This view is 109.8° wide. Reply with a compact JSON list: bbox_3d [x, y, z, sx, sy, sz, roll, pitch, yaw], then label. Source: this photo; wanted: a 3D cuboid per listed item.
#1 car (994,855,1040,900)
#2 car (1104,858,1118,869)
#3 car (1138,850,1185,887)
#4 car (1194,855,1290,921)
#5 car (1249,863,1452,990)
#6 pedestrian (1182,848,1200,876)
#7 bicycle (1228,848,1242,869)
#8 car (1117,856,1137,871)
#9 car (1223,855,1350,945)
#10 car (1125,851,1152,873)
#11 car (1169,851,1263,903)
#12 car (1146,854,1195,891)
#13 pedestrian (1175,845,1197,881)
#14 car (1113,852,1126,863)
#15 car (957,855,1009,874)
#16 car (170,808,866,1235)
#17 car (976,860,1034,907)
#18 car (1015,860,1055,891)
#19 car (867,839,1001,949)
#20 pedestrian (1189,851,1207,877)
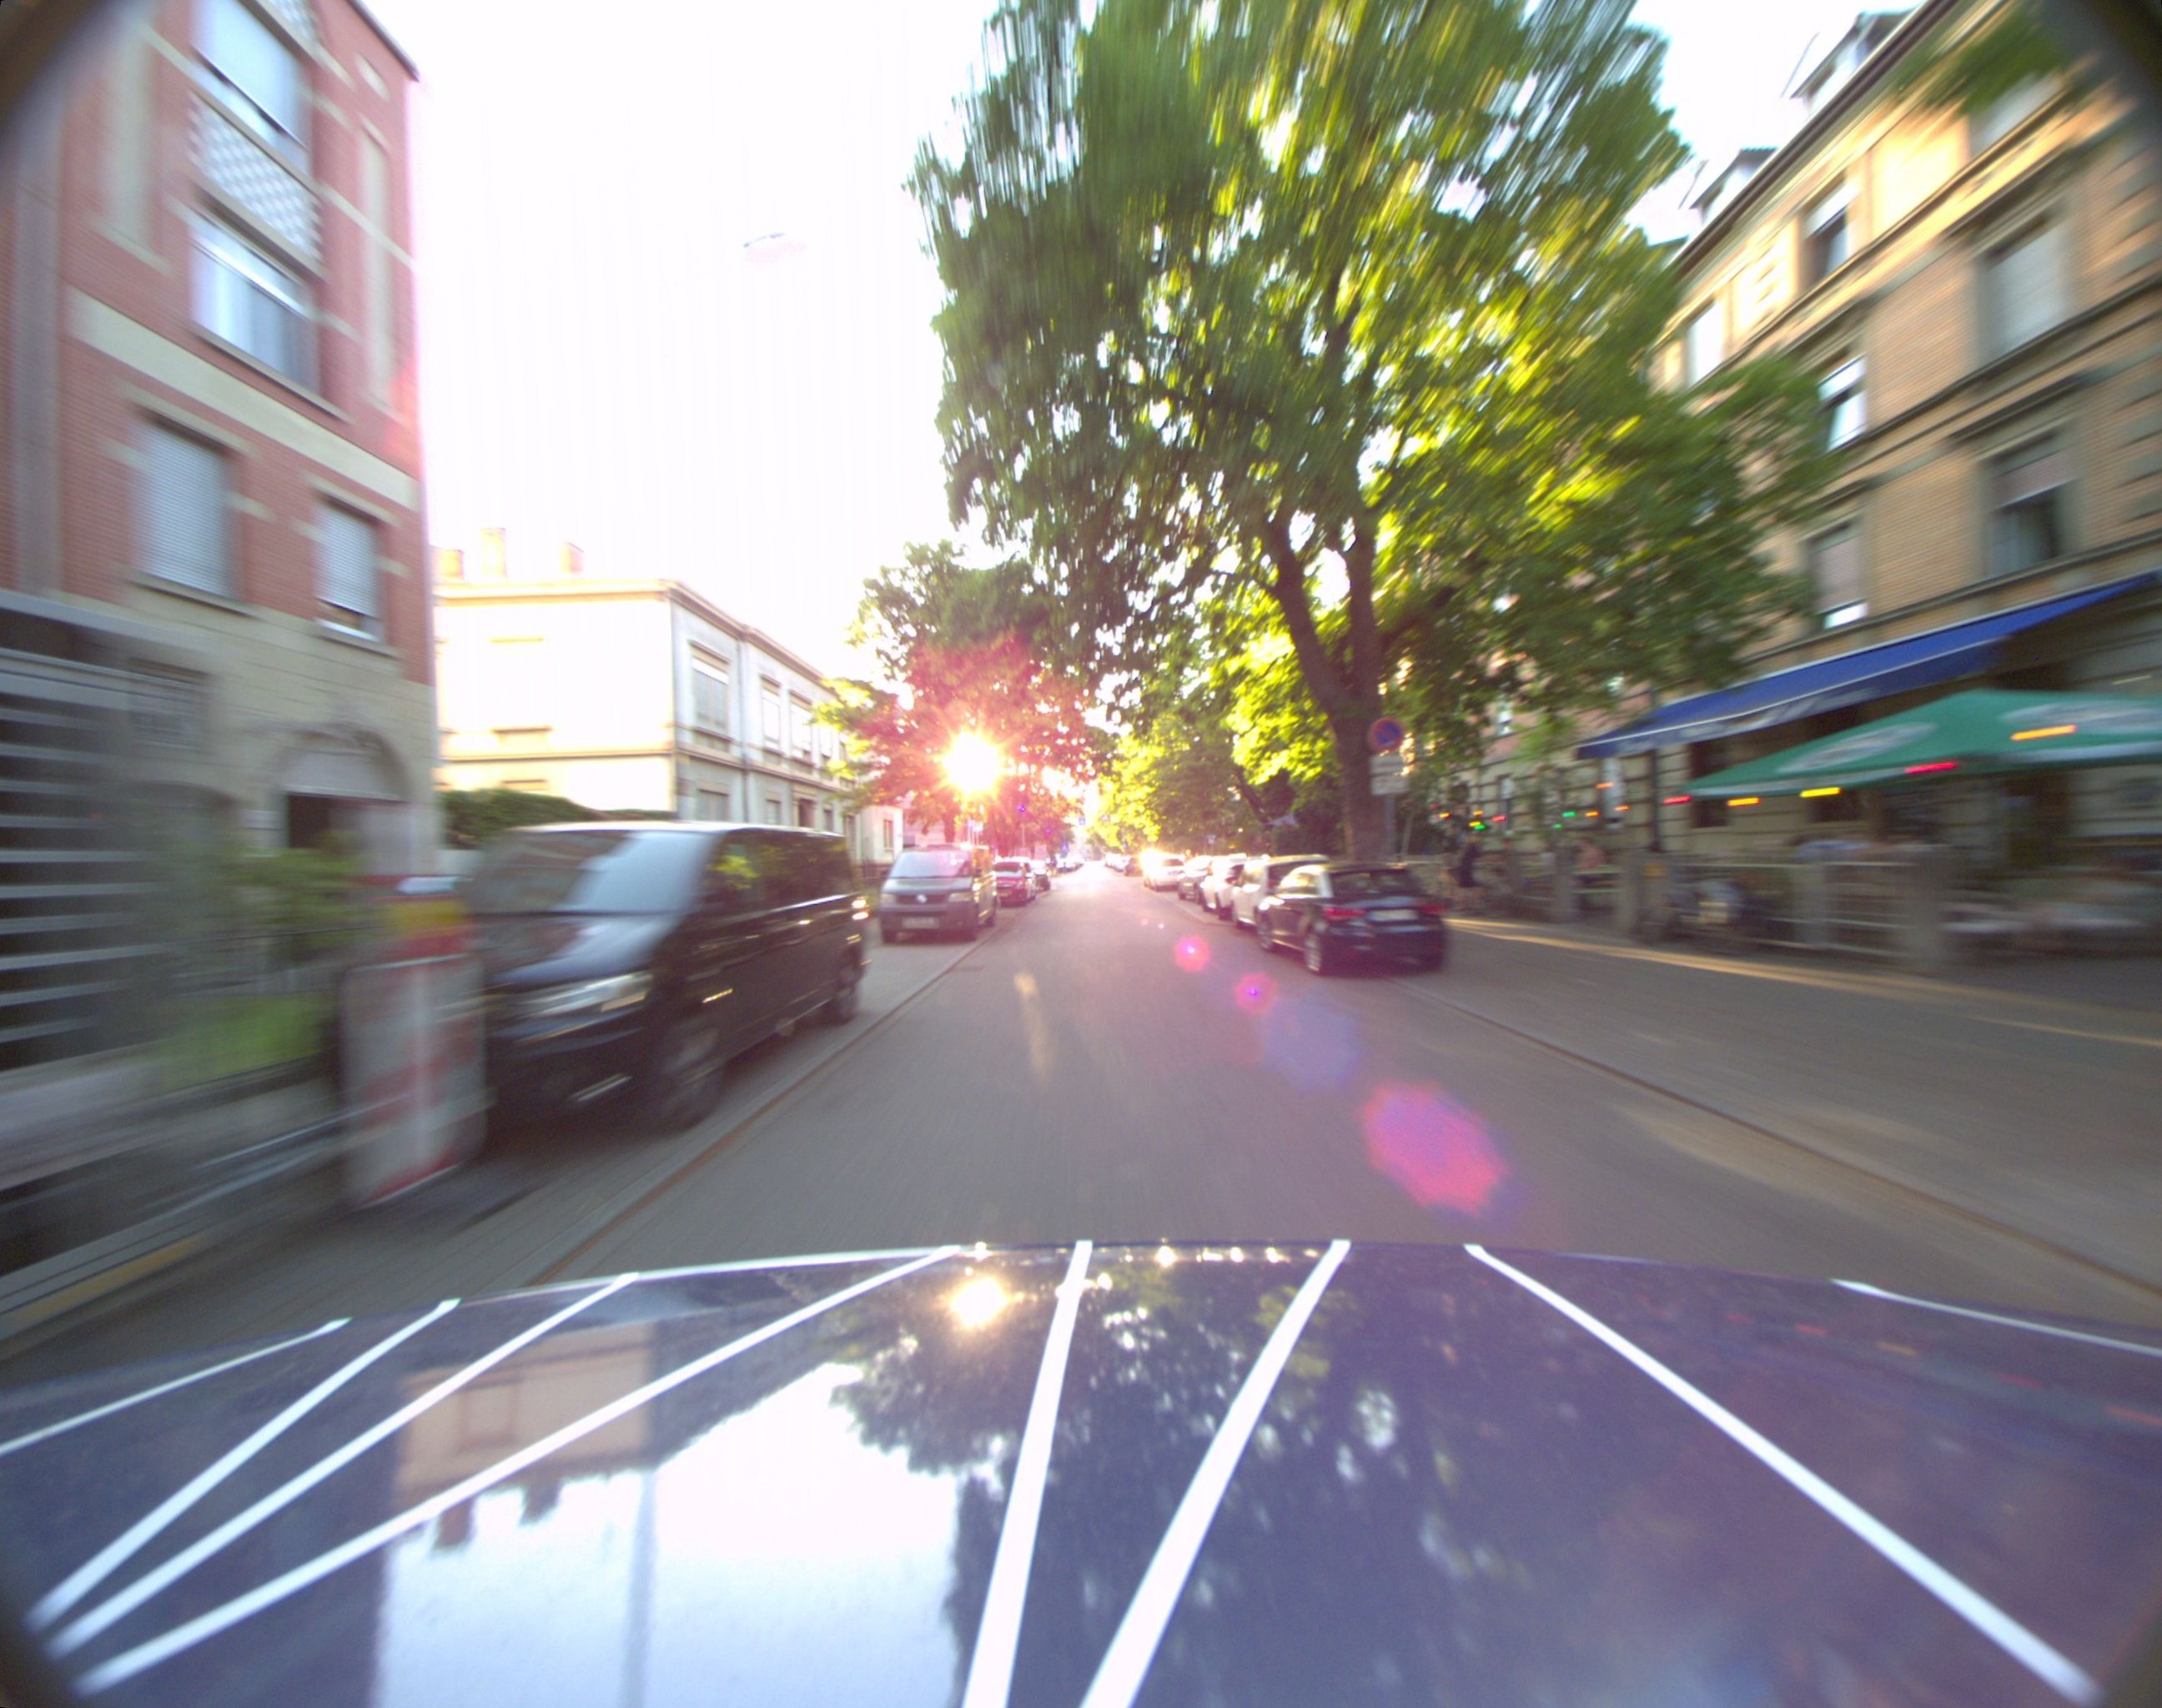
[{"bbox_3d":[-2.643,0.908,30.564,1.669,1.668,4.117,1,-1,-7],"label":"car"},{"bbox_3d":[4.383,1.389,111.186,1.617,1.433,4.104,-3,0,-1],"label":"car"},{"bbox_3d":[4.036,0.709,38.612,1.669,1.667,3.846,-4,0,-3],"label":"car"},{"bbox_3d":[4.027,0.809,19.630,1.607,1.427,3.885,-4,0,1],"label":"car"},{"bbox_3d":[3.627,0.886,10.912,1.555,1.477,3.694,-1,0,-1],"label":"car"},{"bbox_3d":[7.281,0.549,50.336,0.688,1.824,1.007,-1,1,-25],"label":"pedestrian"},{"bbox_3d":[8.977,0.258,44.214,0.392,1.137,1.747,-9,-1,4],"label":"bicycle"},{"bbox_3d":[4.957,1.004,82.352,1.617,1.433,3.754,-4,0,-2],"label":"car"},{"bbox_3d":[3.960,0.823,15.205,1.555,1.477,3.694,-4,0,2],"label":"car"},{"bbox_3d":[4.827,0.649,64.269,1.871,1.677,4.592,-3,0,0],"label":"car"},{"bbox_3d":[4.315,0.723,24.973,1.845,1.403,4.599,-4,0,-5],"label":"car"},{"bbox_3d":[4.010,0.800,34.447,1.668,1.484,3.710,-4,0,0],"label":"car"},{"bbox_3d":[5.992,0.521,43.339,0.869,2.002,1.008,-1,1,-19],"label":"pedestrian"},{"bbox_3d":[5.805,0.534,115.774,1.617,1.433,4.104,-3,0,-1],"label":"car"},{"bbox_3d":[-9.211,0.995,71.757,4.588,1.634,1.872,-2,0,0],"label":"car"},{"bbox_3d":[-3.221,0.793,5.774,1.843,1.931,4.614,1,-1,0],"label":"car"},{"bbox_3d":[-2.544,0.956,26.131,1.668,1.491,3.694,1,-1,-1],"label":"car"},{"bbox_3d":[-2.371,1.122,40.176,1.735,1.547,3.963,1,-1,2],"label":"car"},{"bbox_3d":[-3.017,0.772,16.662,1.959,2.046,4.831,1,-1,0],"label":"car"},{"bbox_3d":[7.591,0.643,49.233,0.688,1.621,1.051,-1,1,-25],"label":"pedestrian"}]
